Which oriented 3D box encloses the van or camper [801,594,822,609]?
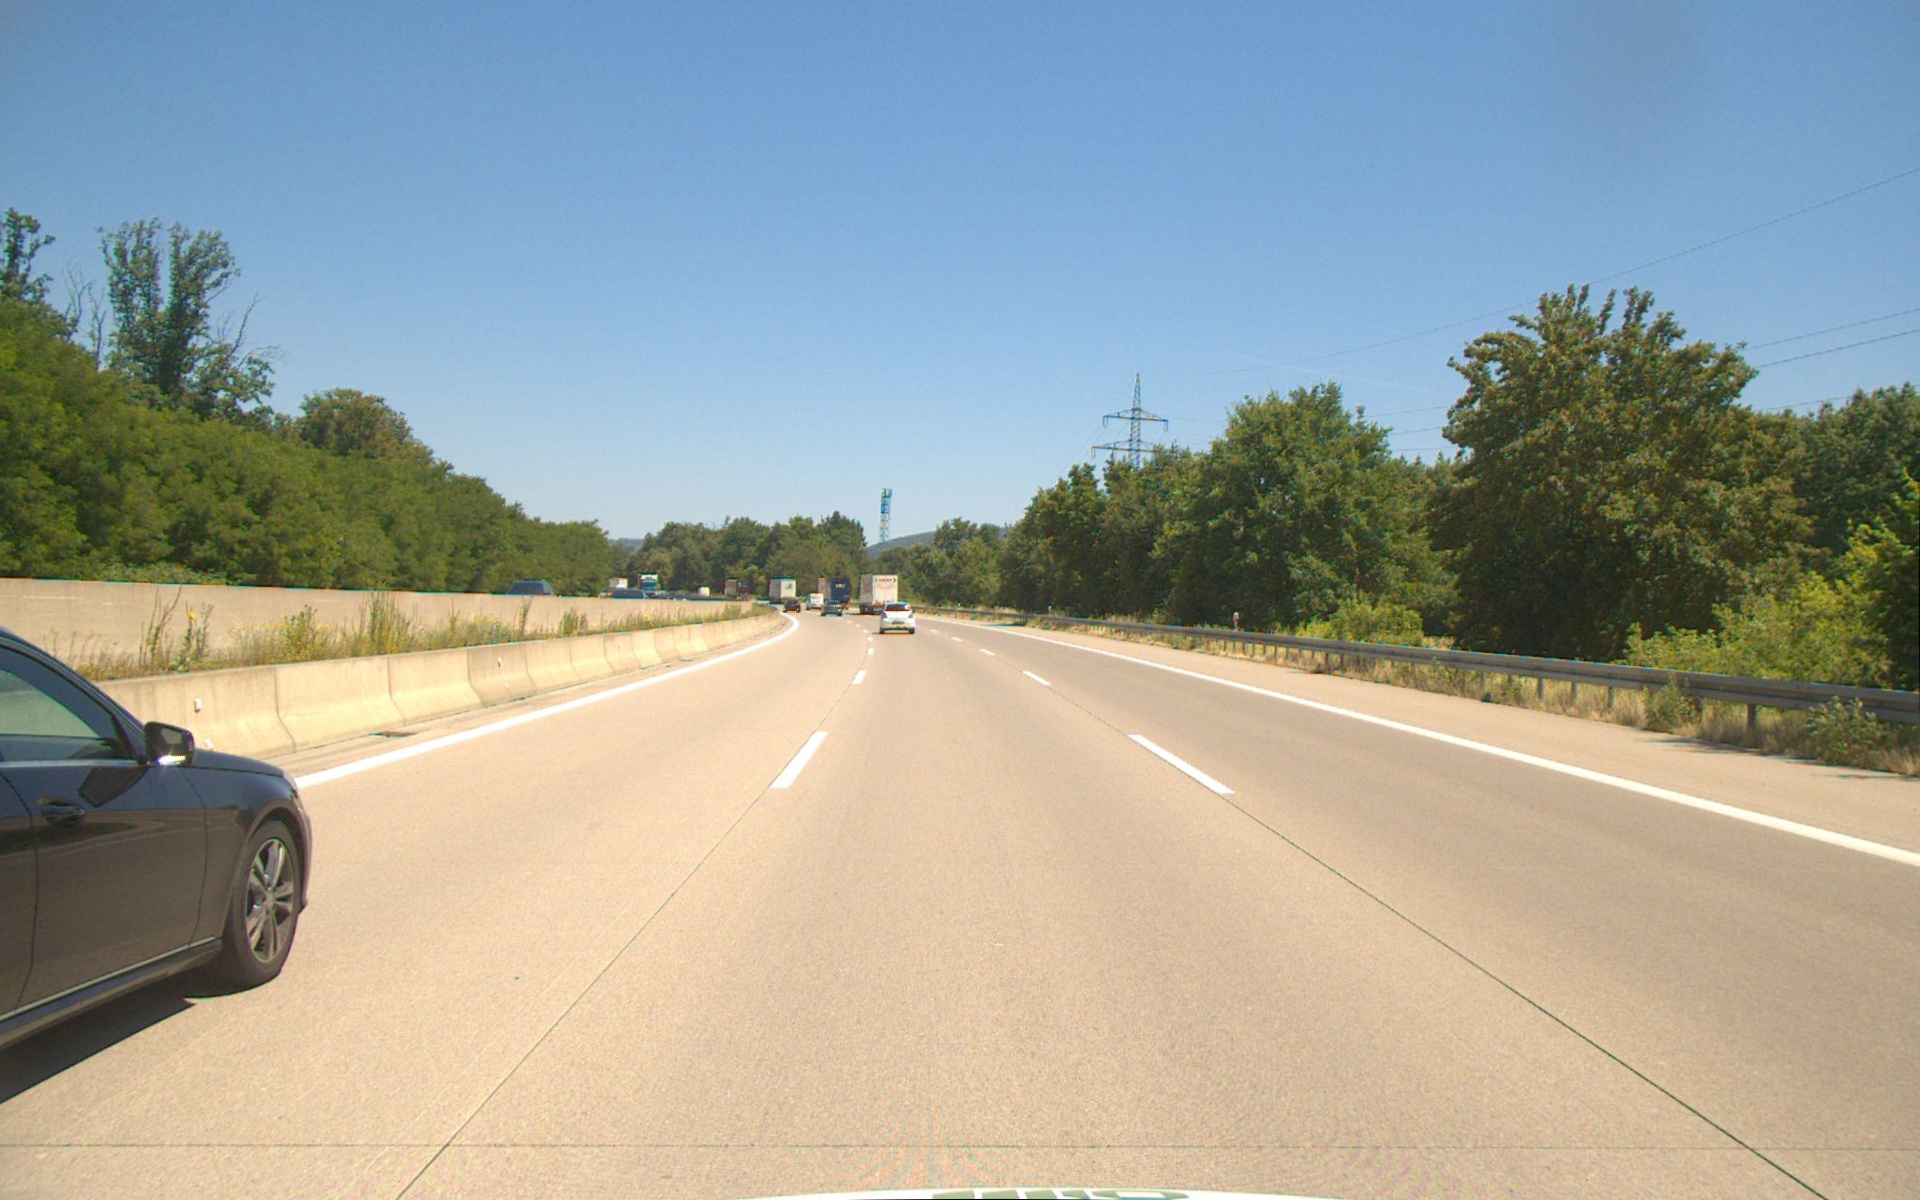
[{"bbox_3d":[-18.410,0.175,204.949,1.838,1.870,3.980,0,0,-17],"label":"van or camper"}]

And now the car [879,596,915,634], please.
[{"bbox_3d":[-3.080,0.725,81.022,1.609,1.690,3.358,5,0,-3],"label":"car"}]

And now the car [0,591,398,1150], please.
[{"bbox_3d":[-3.518,0.726,4.892,1.852,1.499,5.602,0,0,-1],"label":"car"}]

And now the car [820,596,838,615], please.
[{"bbox_3d":[-12.372,0.490,156.242,1.579,1.755,3.568,0,0,-7],"label":"car"}]

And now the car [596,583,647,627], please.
[{"bbox_3d":[-15.723,0.220,77.074,1.625,1.956,4.005,1,0,-2],"label":"car"}]

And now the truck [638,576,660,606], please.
[{"bbox_3d":[-42.483,-1.262,225.843,2.615,4.004,5.959,0,0,-8],"label":"truck"}]

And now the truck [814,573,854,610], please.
[{"bbox_3d":[-16.867,-1.122,220.516,3.837,4.824,14.014,0,0,-10],"label":"truck"}]

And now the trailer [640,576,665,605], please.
[{"bbox_3d":[-43.292,-1.328,233.080,2.631,4.004,13.223,0,0,-7],"label":"trailer"}]

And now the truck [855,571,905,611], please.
[{"bbox_3d":[-8.241,-0.857,168.483,3.749,3.957,14.124,0,0,-9],"label":"truck"}]

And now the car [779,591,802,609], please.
[{"bbox_3d":[-18.830,0.013,183.863,1.987,1.730,3.989,5,0,-12],"label":"car"}]
